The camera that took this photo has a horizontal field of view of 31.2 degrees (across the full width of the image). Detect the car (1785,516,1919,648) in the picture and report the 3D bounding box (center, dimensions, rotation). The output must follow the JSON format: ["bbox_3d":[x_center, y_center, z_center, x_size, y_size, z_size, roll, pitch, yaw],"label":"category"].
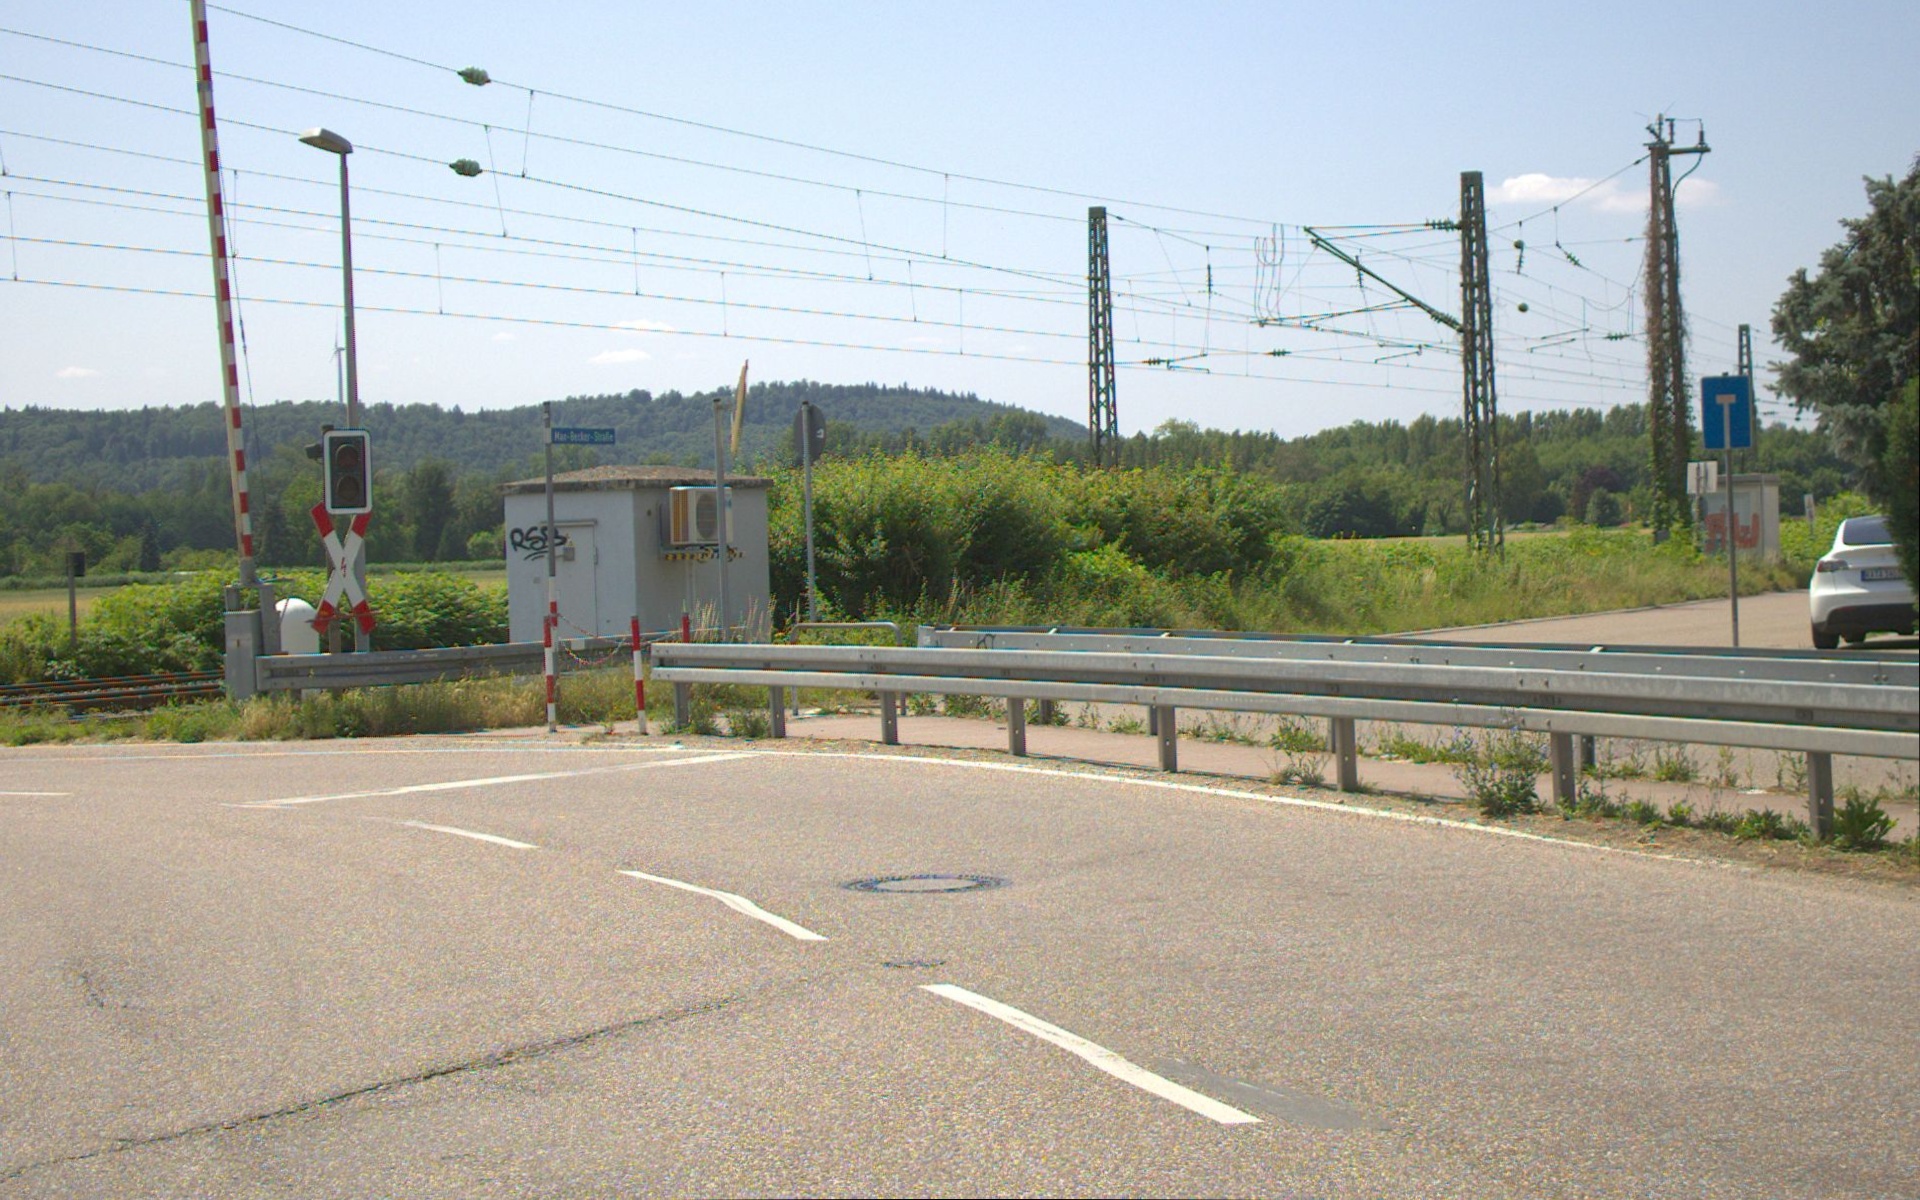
[{"bbox_3d":[11.600,-0.272,42.745,1.996,1.504,4.450,-1,1,21],"label":"car"}]
